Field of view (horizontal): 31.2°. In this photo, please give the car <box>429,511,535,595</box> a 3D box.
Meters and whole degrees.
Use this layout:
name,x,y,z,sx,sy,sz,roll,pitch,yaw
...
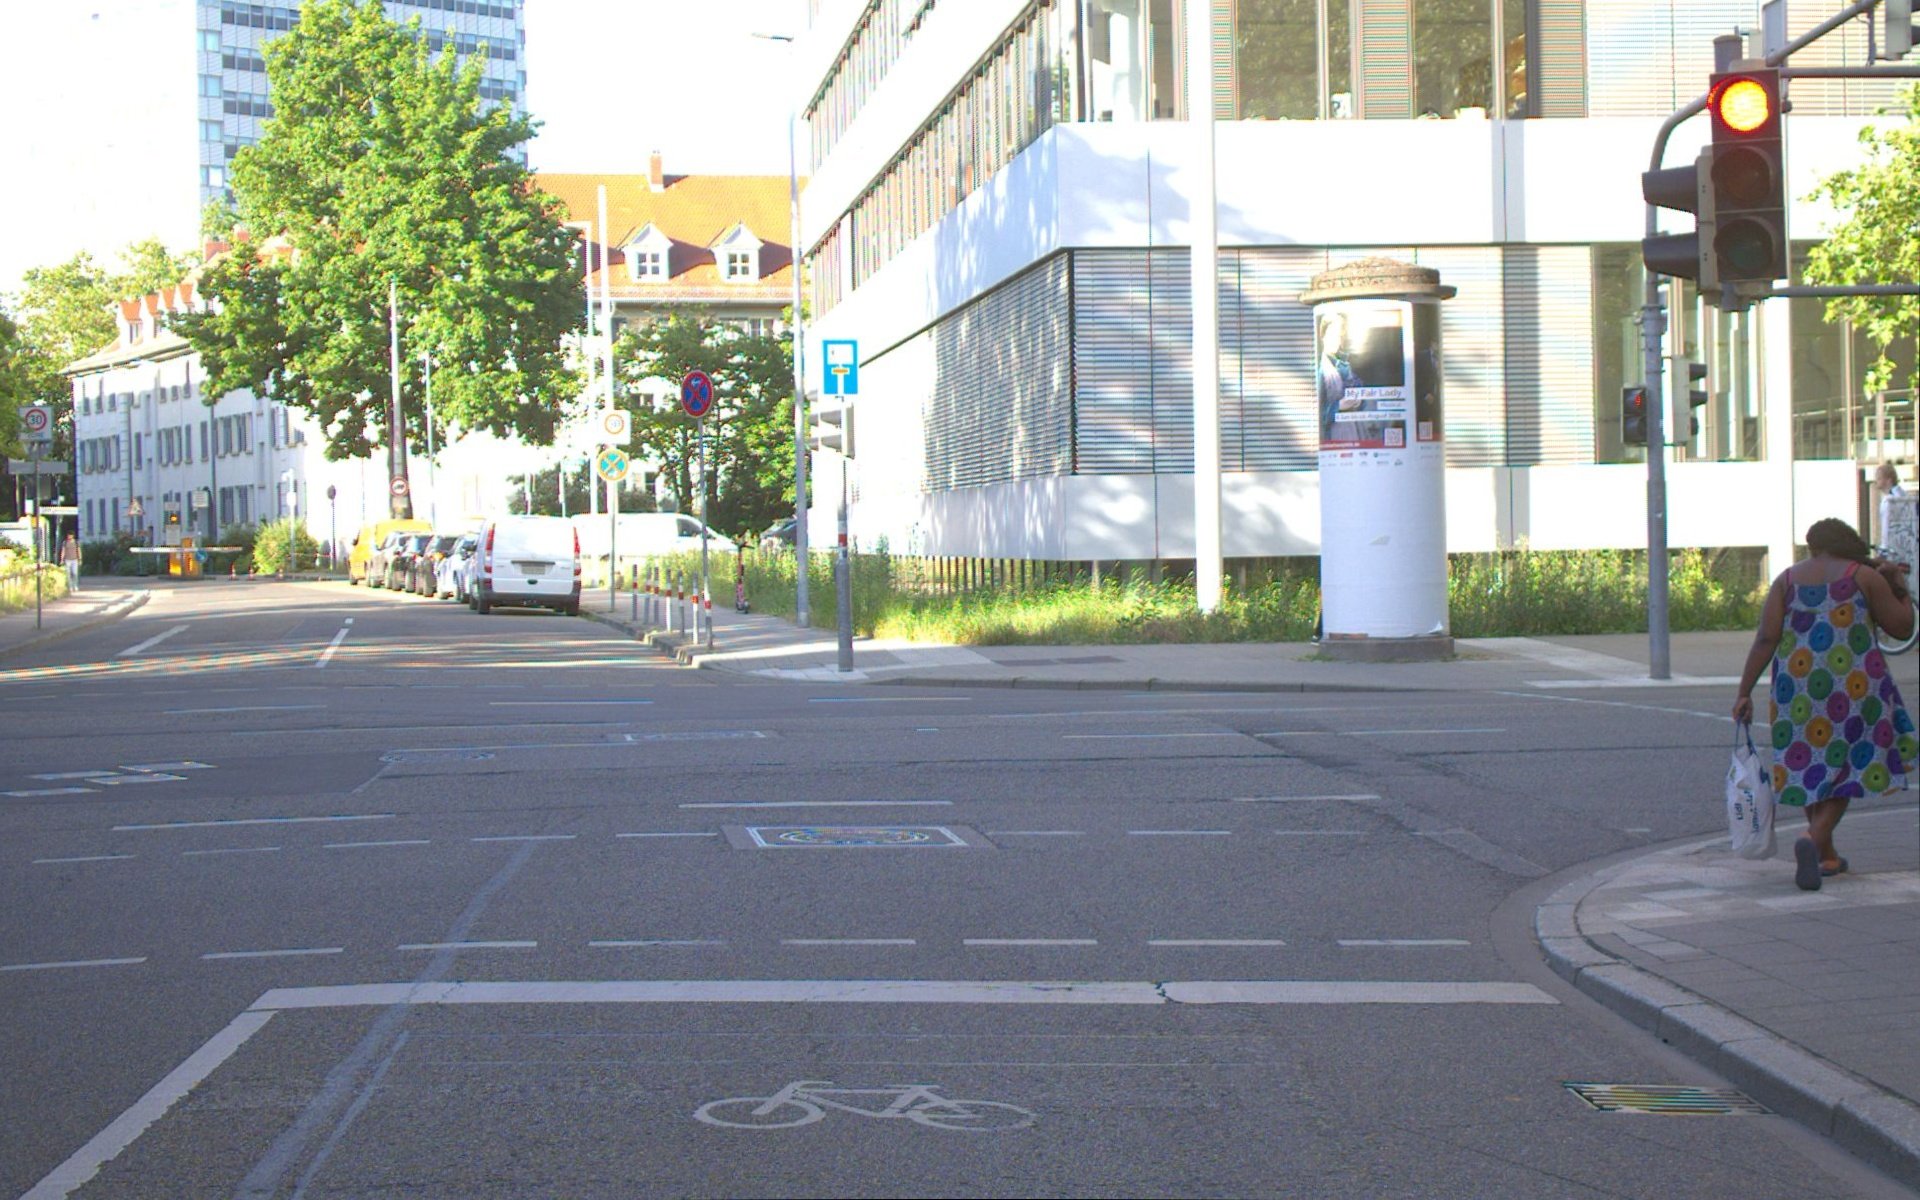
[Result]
name,x,y,z,sx,sy,sz,roll,pitch,yaw
car,-10.670,-1.053,76.557,1.946,1.789,4.239,-1,1,-13

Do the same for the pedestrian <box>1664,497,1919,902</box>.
name,x,y,z,sx,sy,sz,roll,pitch,yaw
pedestrian,3.496,0.399,14.094,0.955,1.568,0.749,-4,1,24

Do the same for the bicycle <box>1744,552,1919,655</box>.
name,x,y,z,sx,sy,sz,roll,pitch,yaw
bicycle,9.179,0.031,36.114,0.463,1.045,1.914,-2,2,-42

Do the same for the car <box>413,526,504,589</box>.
name,x,y,z,sx,sy,sz,roll,pitch,yaw
car,-11.896,-1.028,81.355,1.703,1.419,4.239,-1,1,-14

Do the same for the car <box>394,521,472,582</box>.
name,x,y,z,sx,sy,sz,roll,pitch,yaw
car,-13.189,-1.224,85.834,1.703,1.459,4.239,-1,1,-11

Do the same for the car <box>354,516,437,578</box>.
name,x,y,z,sx,sy,sz,roll,pitch,yaw
car,-15.736,-1.481,95.655,2.100,1.652,4.477,-1,1,-11

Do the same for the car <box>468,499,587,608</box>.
name,x,y,z,sx,sy,sz,roll,pitch,yaw
car,-8.168,-0.888,64.639,2.066,1.956,4.239,-1,1,-9

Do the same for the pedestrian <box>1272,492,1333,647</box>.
name,x,y,z,sx,sy,sz,roll,pitch,yaw
pedestrian,3.880,-0.349,38.926,0.652,1.730,0.812,-1,1,6

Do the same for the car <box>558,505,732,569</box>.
name,x,y,z,sx,sy,sz,roll,pitch,yaw
car,-9.436,-1.878,102.788,4.880,1.865,2.001,0,0,-17

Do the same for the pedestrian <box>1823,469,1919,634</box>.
name,x,y,z,sx,sy,sz,roll,pitch,yaw
pedestrian,10.274,-0.547,38.610,0.537,1.824,1.041,-2,1,-30

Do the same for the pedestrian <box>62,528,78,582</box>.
name,x,y,z,sx,sy,sz,roll,pitch,yaw
pedestrian,-25.340,-1.289,97.899,0.380,1.529,0.446,-1,1,-12
